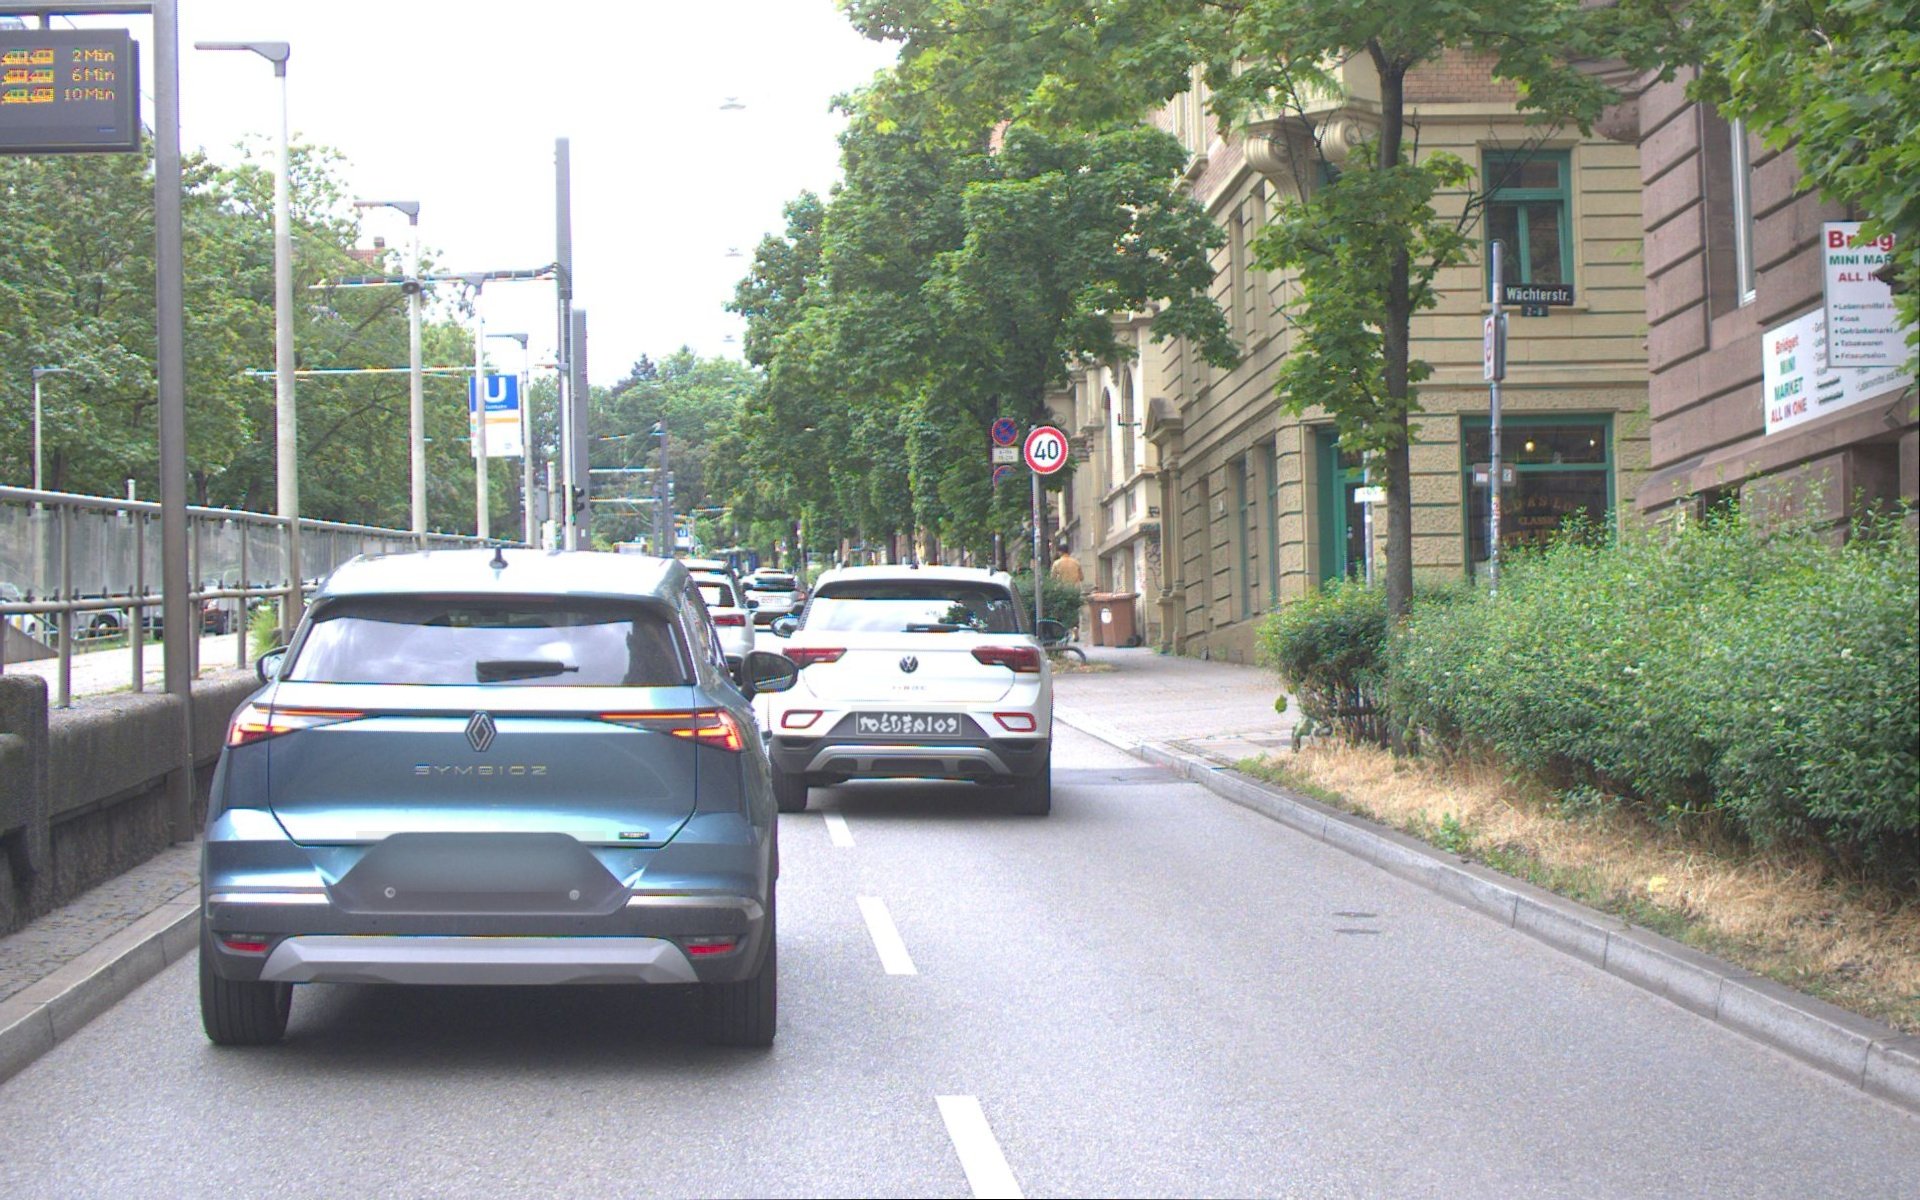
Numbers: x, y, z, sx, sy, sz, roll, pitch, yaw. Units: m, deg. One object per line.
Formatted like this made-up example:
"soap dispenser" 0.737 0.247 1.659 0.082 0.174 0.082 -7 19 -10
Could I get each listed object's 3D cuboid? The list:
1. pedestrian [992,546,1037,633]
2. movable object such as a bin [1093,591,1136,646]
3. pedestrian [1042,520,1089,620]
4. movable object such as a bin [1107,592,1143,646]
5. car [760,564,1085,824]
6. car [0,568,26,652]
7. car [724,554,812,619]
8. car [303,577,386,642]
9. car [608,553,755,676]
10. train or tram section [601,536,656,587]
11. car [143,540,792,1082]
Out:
"pedestrian" 1.010 -0.205 63.861 0.685 1.569 1.217 -2 1 -4
"movable object such as a bin" 2.686 0.322 59.670 0.500 0.916 0.493 -3 0 -45
"pedestrian" 1.958 -0.549 63.702 0.685 1.823 1.121 -2 0 -4
"movable object such as a bin" 2.832 0.328 59.023 0.500 0.916 0.443 -1 1 16
"car" -0.342 0.560 22.704 1.835 1.541 4.194 1 0 -5
"car" -20.335 0.226 69.671 1.935 1.674 4.001 -2 1 -4
"car" -4.714 -0.335 85.007 2.068 1.541 4.194 1 0 -2
"car" -17.160 0.254 96.002 1.709 1.730 4.577 -1 1 -3
"car" -3.659 0.177 45.713 1.835 1.541 4.194 1 0 -3
"train or tram section" -22.446 -2.549 233.238 2.995 3.337 13.440 -1 0 -3
"car" -1.533 0.607 11.983 1.835 1.541 4.194 1 0 -3
